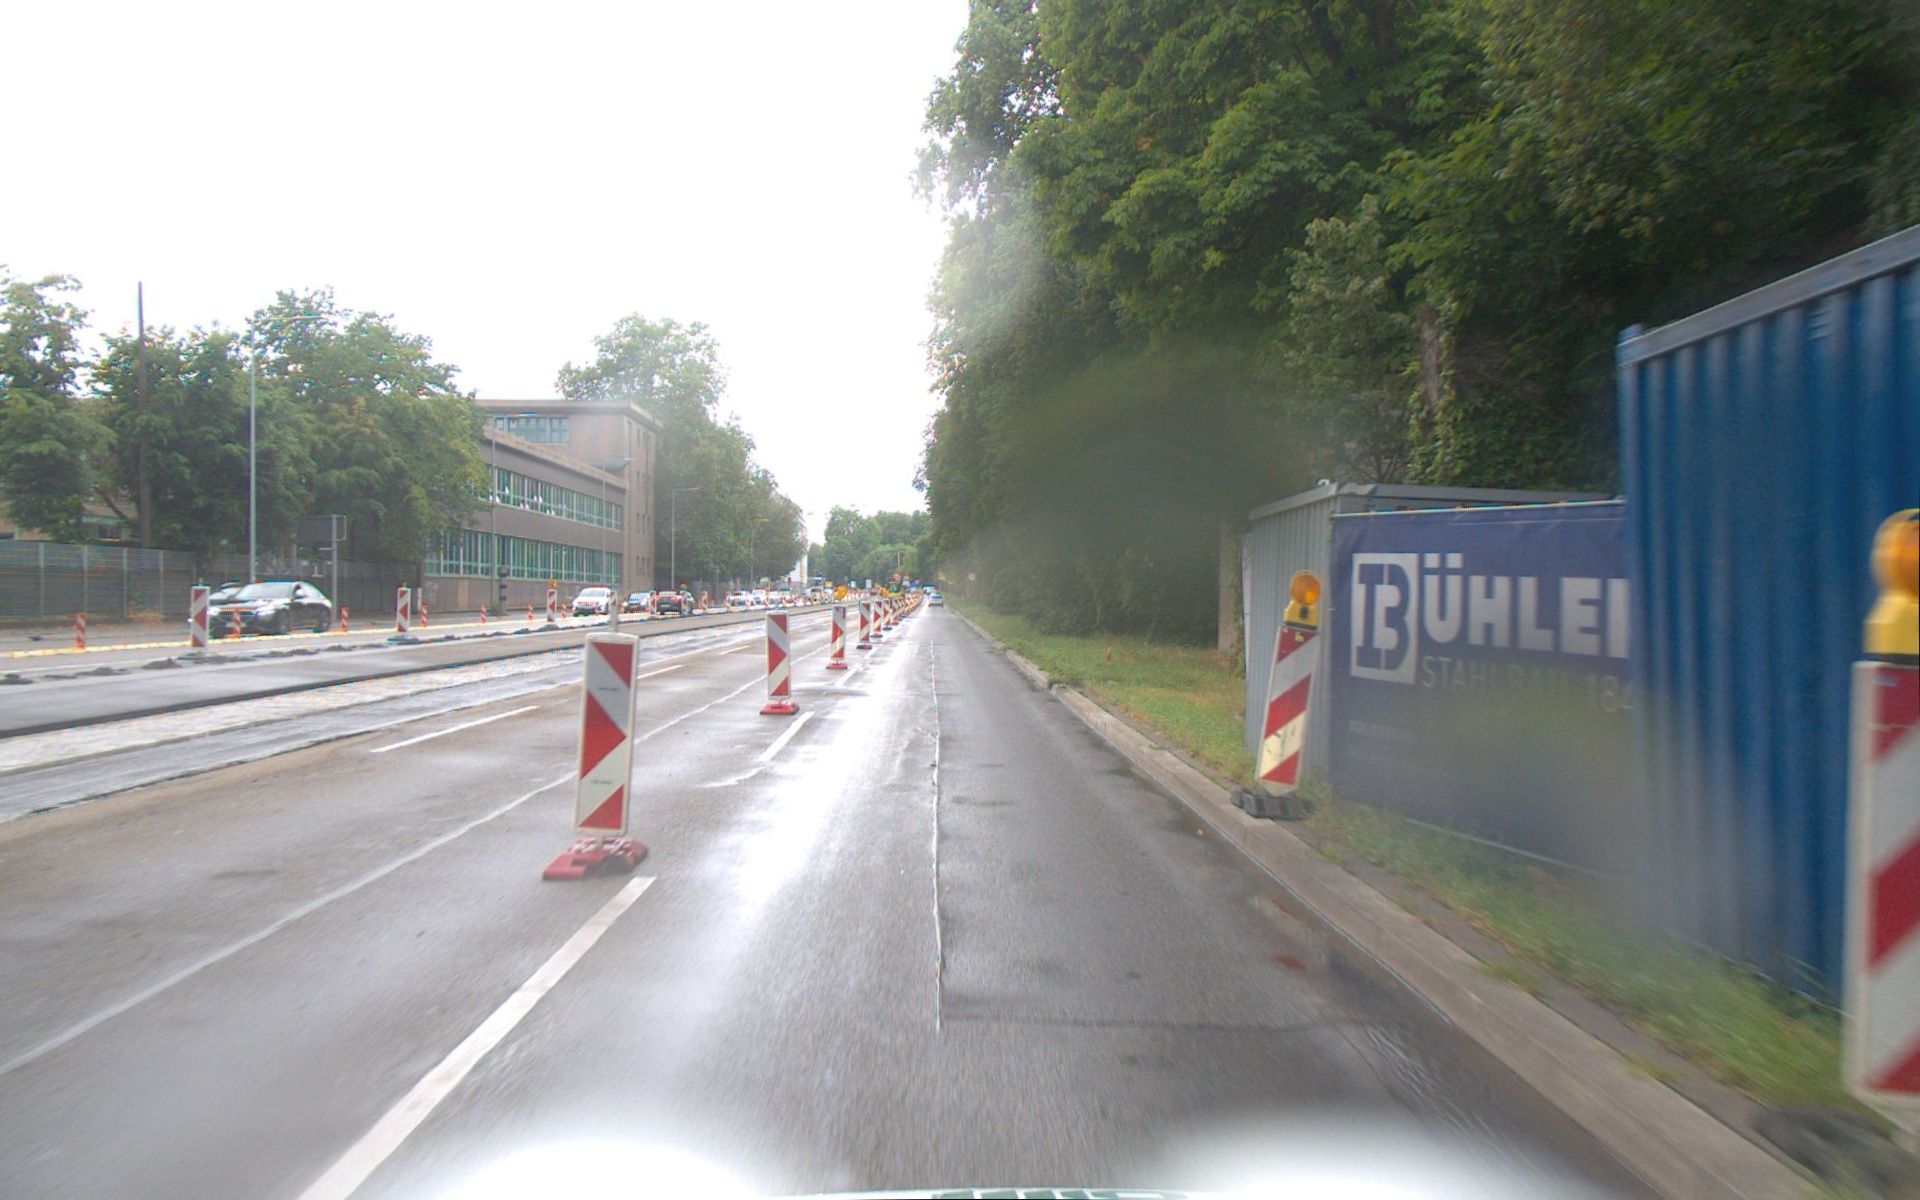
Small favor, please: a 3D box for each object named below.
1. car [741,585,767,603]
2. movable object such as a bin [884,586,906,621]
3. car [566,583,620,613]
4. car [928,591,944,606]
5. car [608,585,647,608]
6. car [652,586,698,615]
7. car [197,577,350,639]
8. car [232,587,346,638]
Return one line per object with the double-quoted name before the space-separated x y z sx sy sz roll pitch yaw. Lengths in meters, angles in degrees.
"car" -20.985 -0.603 168.633 1.948 1.799 4.674 1 0 0
"movable object such as a bin" -6.496 0.344 165.951 1.953 3.426 5.981 1 0 -1
"car" -19.695 -0.115 88.911 1.953 1.539 4.265 1 0 -1
"car" -2.851 -0.153 196.405 1.953 1.702 3.999 1 0 -1
"car" -22.530 -0.253 112.196 1.953 1.454 4.263 1 0 -2
"car" -15.926 0.015 92.611 1.953 1.545 3.999 1 0 -1
"car" -18.346 0.184 44.499 2.036 1.539 5.088 1 0 -1
"car" -21.496 0.392 53.172 1.953 1.544 4.304 1 0 -1
